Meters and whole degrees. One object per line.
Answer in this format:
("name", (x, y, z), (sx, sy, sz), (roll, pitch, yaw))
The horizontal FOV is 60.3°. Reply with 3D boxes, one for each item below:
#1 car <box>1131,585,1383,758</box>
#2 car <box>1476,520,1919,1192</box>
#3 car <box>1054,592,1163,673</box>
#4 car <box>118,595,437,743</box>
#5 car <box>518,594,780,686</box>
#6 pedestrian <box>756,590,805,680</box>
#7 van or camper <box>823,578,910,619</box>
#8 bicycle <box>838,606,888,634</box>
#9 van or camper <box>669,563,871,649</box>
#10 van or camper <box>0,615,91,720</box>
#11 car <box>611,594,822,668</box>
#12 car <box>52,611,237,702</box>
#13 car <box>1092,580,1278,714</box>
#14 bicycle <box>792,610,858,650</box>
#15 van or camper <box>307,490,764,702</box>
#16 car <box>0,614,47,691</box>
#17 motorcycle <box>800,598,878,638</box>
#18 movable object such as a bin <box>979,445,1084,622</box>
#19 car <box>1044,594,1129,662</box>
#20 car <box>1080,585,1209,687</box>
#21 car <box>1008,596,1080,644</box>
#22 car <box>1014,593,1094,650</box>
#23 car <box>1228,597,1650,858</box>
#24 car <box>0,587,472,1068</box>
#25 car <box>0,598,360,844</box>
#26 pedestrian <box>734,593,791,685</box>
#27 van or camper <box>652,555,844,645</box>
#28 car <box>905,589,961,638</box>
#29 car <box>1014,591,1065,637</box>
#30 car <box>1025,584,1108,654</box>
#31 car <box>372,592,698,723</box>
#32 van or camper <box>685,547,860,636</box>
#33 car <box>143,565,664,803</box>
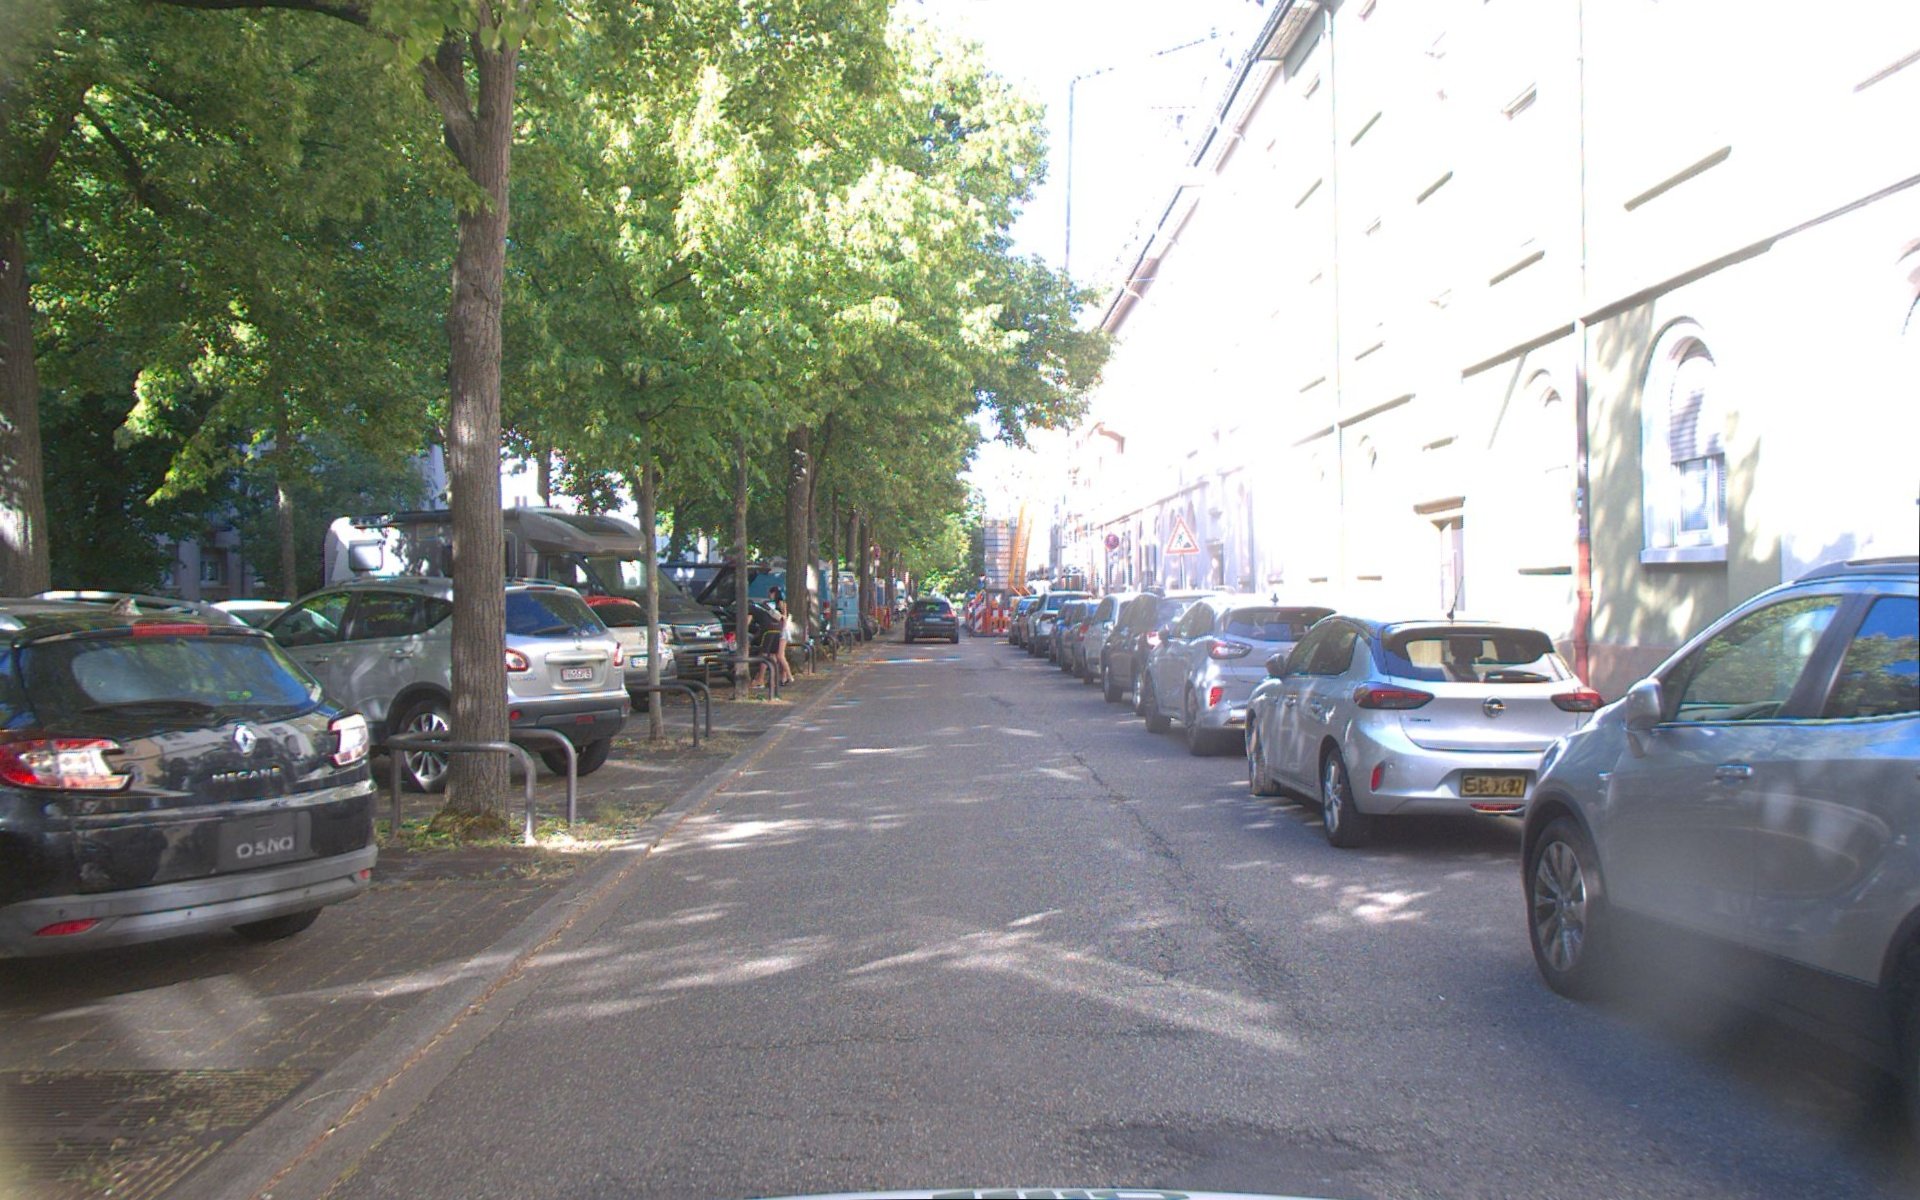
("car", (2.959, 0.642, 17.322), (1.688, 1.555, 4.156), (-1, 0, -3))
("car", (3.230, 0.633, 5.226), (1.688, 1.715, 4.155), (-1, 0, -3))
("car", (2.830, 0.581, 32.338), (1.598, 1.437, 4.087), (-1, 0, -2))
("car", (-7.918, 0.760, 19.142), (3.469, 1.533, 1.753), (-1, 0, 33))
("car", (-5.324, 0.671, 28.263), (4.230, 1.449, 1.674), (-1, 0, 26))
("pedestrian", (-3.015, 0.587, 27.799), (0.602, 1.481, 0.519), (-1, 0, 22))
("van or camper", (-6.074, -0.075, 106.893), (5.235, 2.518, 2.289), (-1, 0, 32))
("bicycle", (-3.666, 0.761, 62.609), (1.858, 1.024, 0.430), (-1, 0, 23))
("van or camper", (-5.508, 0.177, 47.943), (5.386, 2.315, 2.220), (-1, 0, 23))
("van or camper", (-15.576, 1.074, 26.793), (1.564, 1.582, 2.697), (-2, 0, -1))
("car", (-5.234, 0.646, 35.343), (4.393, 1.468, 1.728), (-1, 0, 32))
("car", (-15.335, 1.020, 31.318), (1.630, 1.525, 3.769), (-1, 0, -1))
("car", (2.962, 0.564, 22.574), (1.688, 1.624, 4.155), (-1, 0, -4))
("bicycle", (-3.607, 0.794, 44.294), (1.702, 1.023, 0.506), (-2, 0, -31))
("van or camper", (-6.699, -0.004, 25.823), (7.084, 2.981, 2.312), (-1, 0, 26))
("car", (-20.004, 1.081, 32.975), (1.592, 1.507, 3.611), (-2, 0, -1))
("motorcycle", (-4.107, 0.604, 56.153), (2.495, 1.280, 0.763), (-1, 0, 7))
("movable object such as a bin", (2.863, -2.598, 66.177), (3.415, 6.878, 2.363), (-1, 0, 32))
("car", (2.818, 0.595, 37.507), (1.584, 1.437, 3.787), (-1, 0, -1))
("car", (3.013, 0.553, 27.613), (1.598, 1.561, 3.591), (-1, 0, -2))
("car", (2.632, 0.600, 52.836), (1.953, 1.434, 4.499), (0, 0, -2))
("car", (2.704, 0.602, 48.395), (1.756, 1.550, 3.959), (-1, 0, -5))
("car", (3.118, 0.735, 11.670), (1.687, 1.457, 4.157), (-1, 0, -1))
("car", (-4.224, 0.728, 6.996), (4.329, 1.487, 1.712), (-1, -1, 32))
("car", (-6.332, 0.728, 11.793), (3.956, 1.427, 1.819), (1, 0, 32))
("pedestrian", (-3.252, 0.642, 27.243), (0.695, 1.481, 0.596), (-1, 0, 22))
("van or camper", (-6.710, 0.020, 52.172), (5.756, 2.683, 2.252), (-1, 0, 29))
("car", (-0.906, 0.425, 54.759), (1.761, 1.530, 3.584), (-2, 0, -2))
("car", (2.757, 0.475, 57.915), (1.560, 1.557, 2.779), (-1, 0, -2))
("car", (2.713, 0.448, 43.066), (1.779, 1.703, 4.673), (-1, 0, -1))
("car", (-5.509, 0.716, 21.381), (3.910, 1.533, 1.755), (-1, 0, 28))
("van or camper", (-7.430, -0.308, 65.267), (6.528, 3.297, 2.492), (-1, 0, 28))
("car", (-4.607, 0.615, 13.614), (4.054, 1.708, 1.757), (-1, 0, 28))
